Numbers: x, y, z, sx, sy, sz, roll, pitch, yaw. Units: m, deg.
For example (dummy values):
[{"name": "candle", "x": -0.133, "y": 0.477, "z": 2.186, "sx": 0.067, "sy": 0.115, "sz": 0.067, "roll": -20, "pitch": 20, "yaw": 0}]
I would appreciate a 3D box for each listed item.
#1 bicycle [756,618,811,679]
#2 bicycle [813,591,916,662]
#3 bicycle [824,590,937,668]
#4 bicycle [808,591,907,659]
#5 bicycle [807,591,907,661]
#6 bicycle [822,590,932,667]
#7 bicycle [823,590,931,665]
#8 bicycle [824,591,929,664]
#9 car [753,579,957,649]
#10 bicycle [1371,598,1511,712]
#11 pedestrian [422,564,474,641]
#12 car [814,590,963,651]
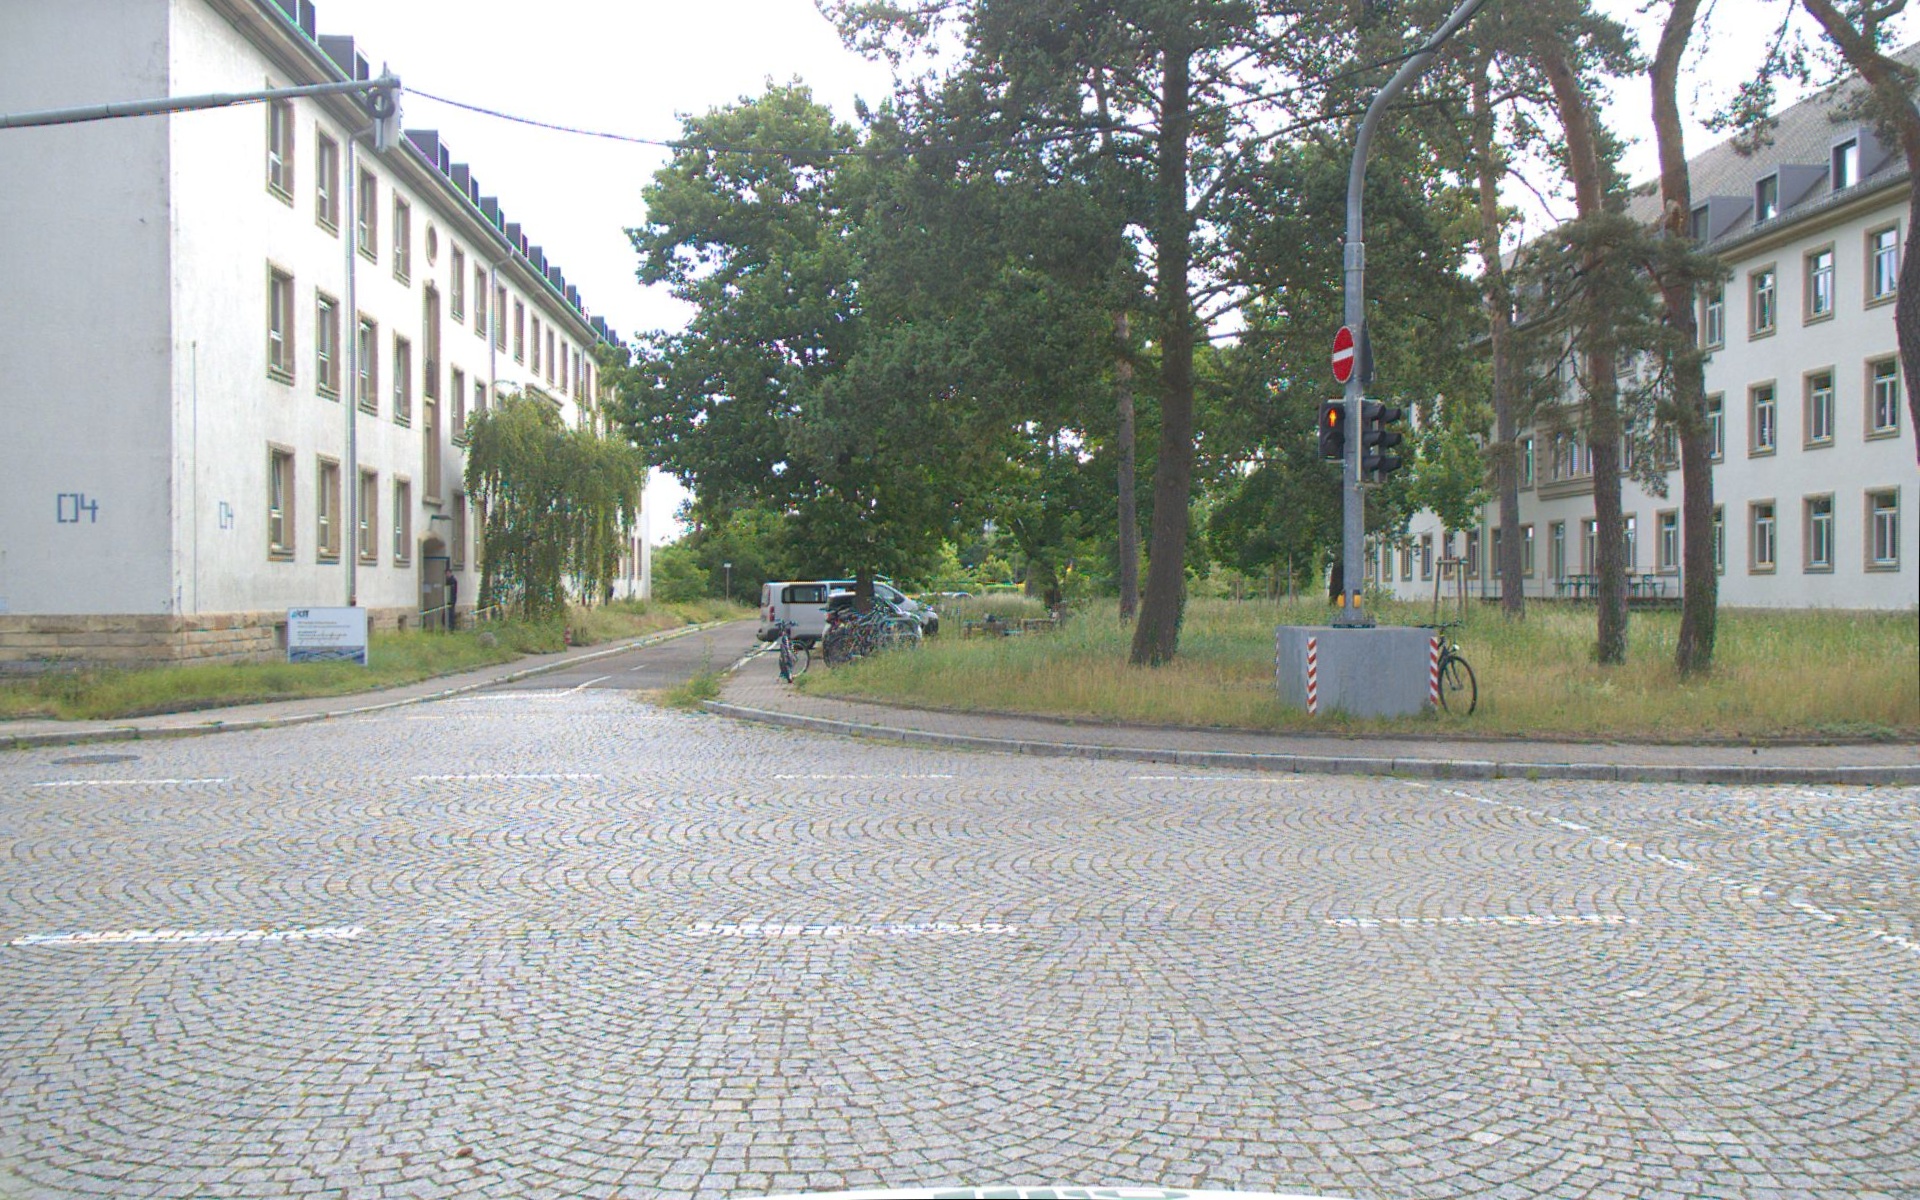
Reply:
[{"name": "bicycle", "x": -2.995, "y": 0.812, "z": 28.263, "sx": 0.605, "sy": 0.980, "sz": 2.077, "roll": 0, "pitch": 0, "yaw": 3}, {"name": "bicycle", "x": -1.899, "y": 0.518, "z": 33.032, "sx": 2.028, "sy": 1.402, "sz": 0.619, "roll": 0, "pitch": 0, "yaw": -3}, {"name": "bicycle", "x": -1.452, "y": 0.521, "z": 30.167, "sx": 2.028, "sy": 1.402, "sz": 0.619, "roll": 0, "pitch": 0, "yaw": -3}, {"name": "bicycle", "x": -2.130, "y": 0.519, "z": 34.504, "sx": 2.028, "sy": 1.402, "sz": 0.619, "roll": 0, "pitch": 0, "yaw": -3}, {"name": "bicycle", "x": -2.095, "y": 0.517, "z": 33.758, "sx": 2.028, "sy": 1.402, "sz": 0.619, "roll": 0, "pitch": 0, "yaw": -3}, {"name": "bicycle", "x": -1.538, "y": 0.521, "z": 30.833, "sx": 2.028, "sy": 1.402, "sz": 0.619, "roll": 0, "pitch": 0, "yaw": -3}, {"name": "bicycle", "x": -1.582, "y": 0.522, "z": 31.456, "sx": 2.028, "sy": 1.402, "sz": 0.619, "roll": 0, "pitch": 0, "yaw": -3}, {"name": "bicycle", "x": -1.626, "y": 0.525, "z": 32.251, "sx": 2.028, "sy": 1.402, "sz": 0.619, "roll": 0, "pitch": 0, "yaw": -3}, {"name": "car", "x": -3.063, "y": 0.367, "z": 47.977, "sx": 5.600, "sy": 1.944, "sz": 2.220, "roll": 0, "pitch": 0, "yaw": -16}, {"name": "bicycle", "x": 5.293, "y": 0.577, "z": 18.333, "sx": 0.891, "sy": 1.197, "sz": 1.872, "roll": 0, "pitch": 0, "yaw": -5}, {"name": "pedestrian", "x": -13.850, "y": 0.059, "z": 44.806, "sx": 1.064, "sy": 2.049, "sz": 1.022, "roll": 0, "pitch": 0, "yaw": 1}, {"name": "car", "x": -1.970, "y": 0.529, "z": 44.675, "sx": 3.859, "sy": 1.571, "sz": 1.996, "roll": 0, "pitch": 0, "yaw": -9}]
